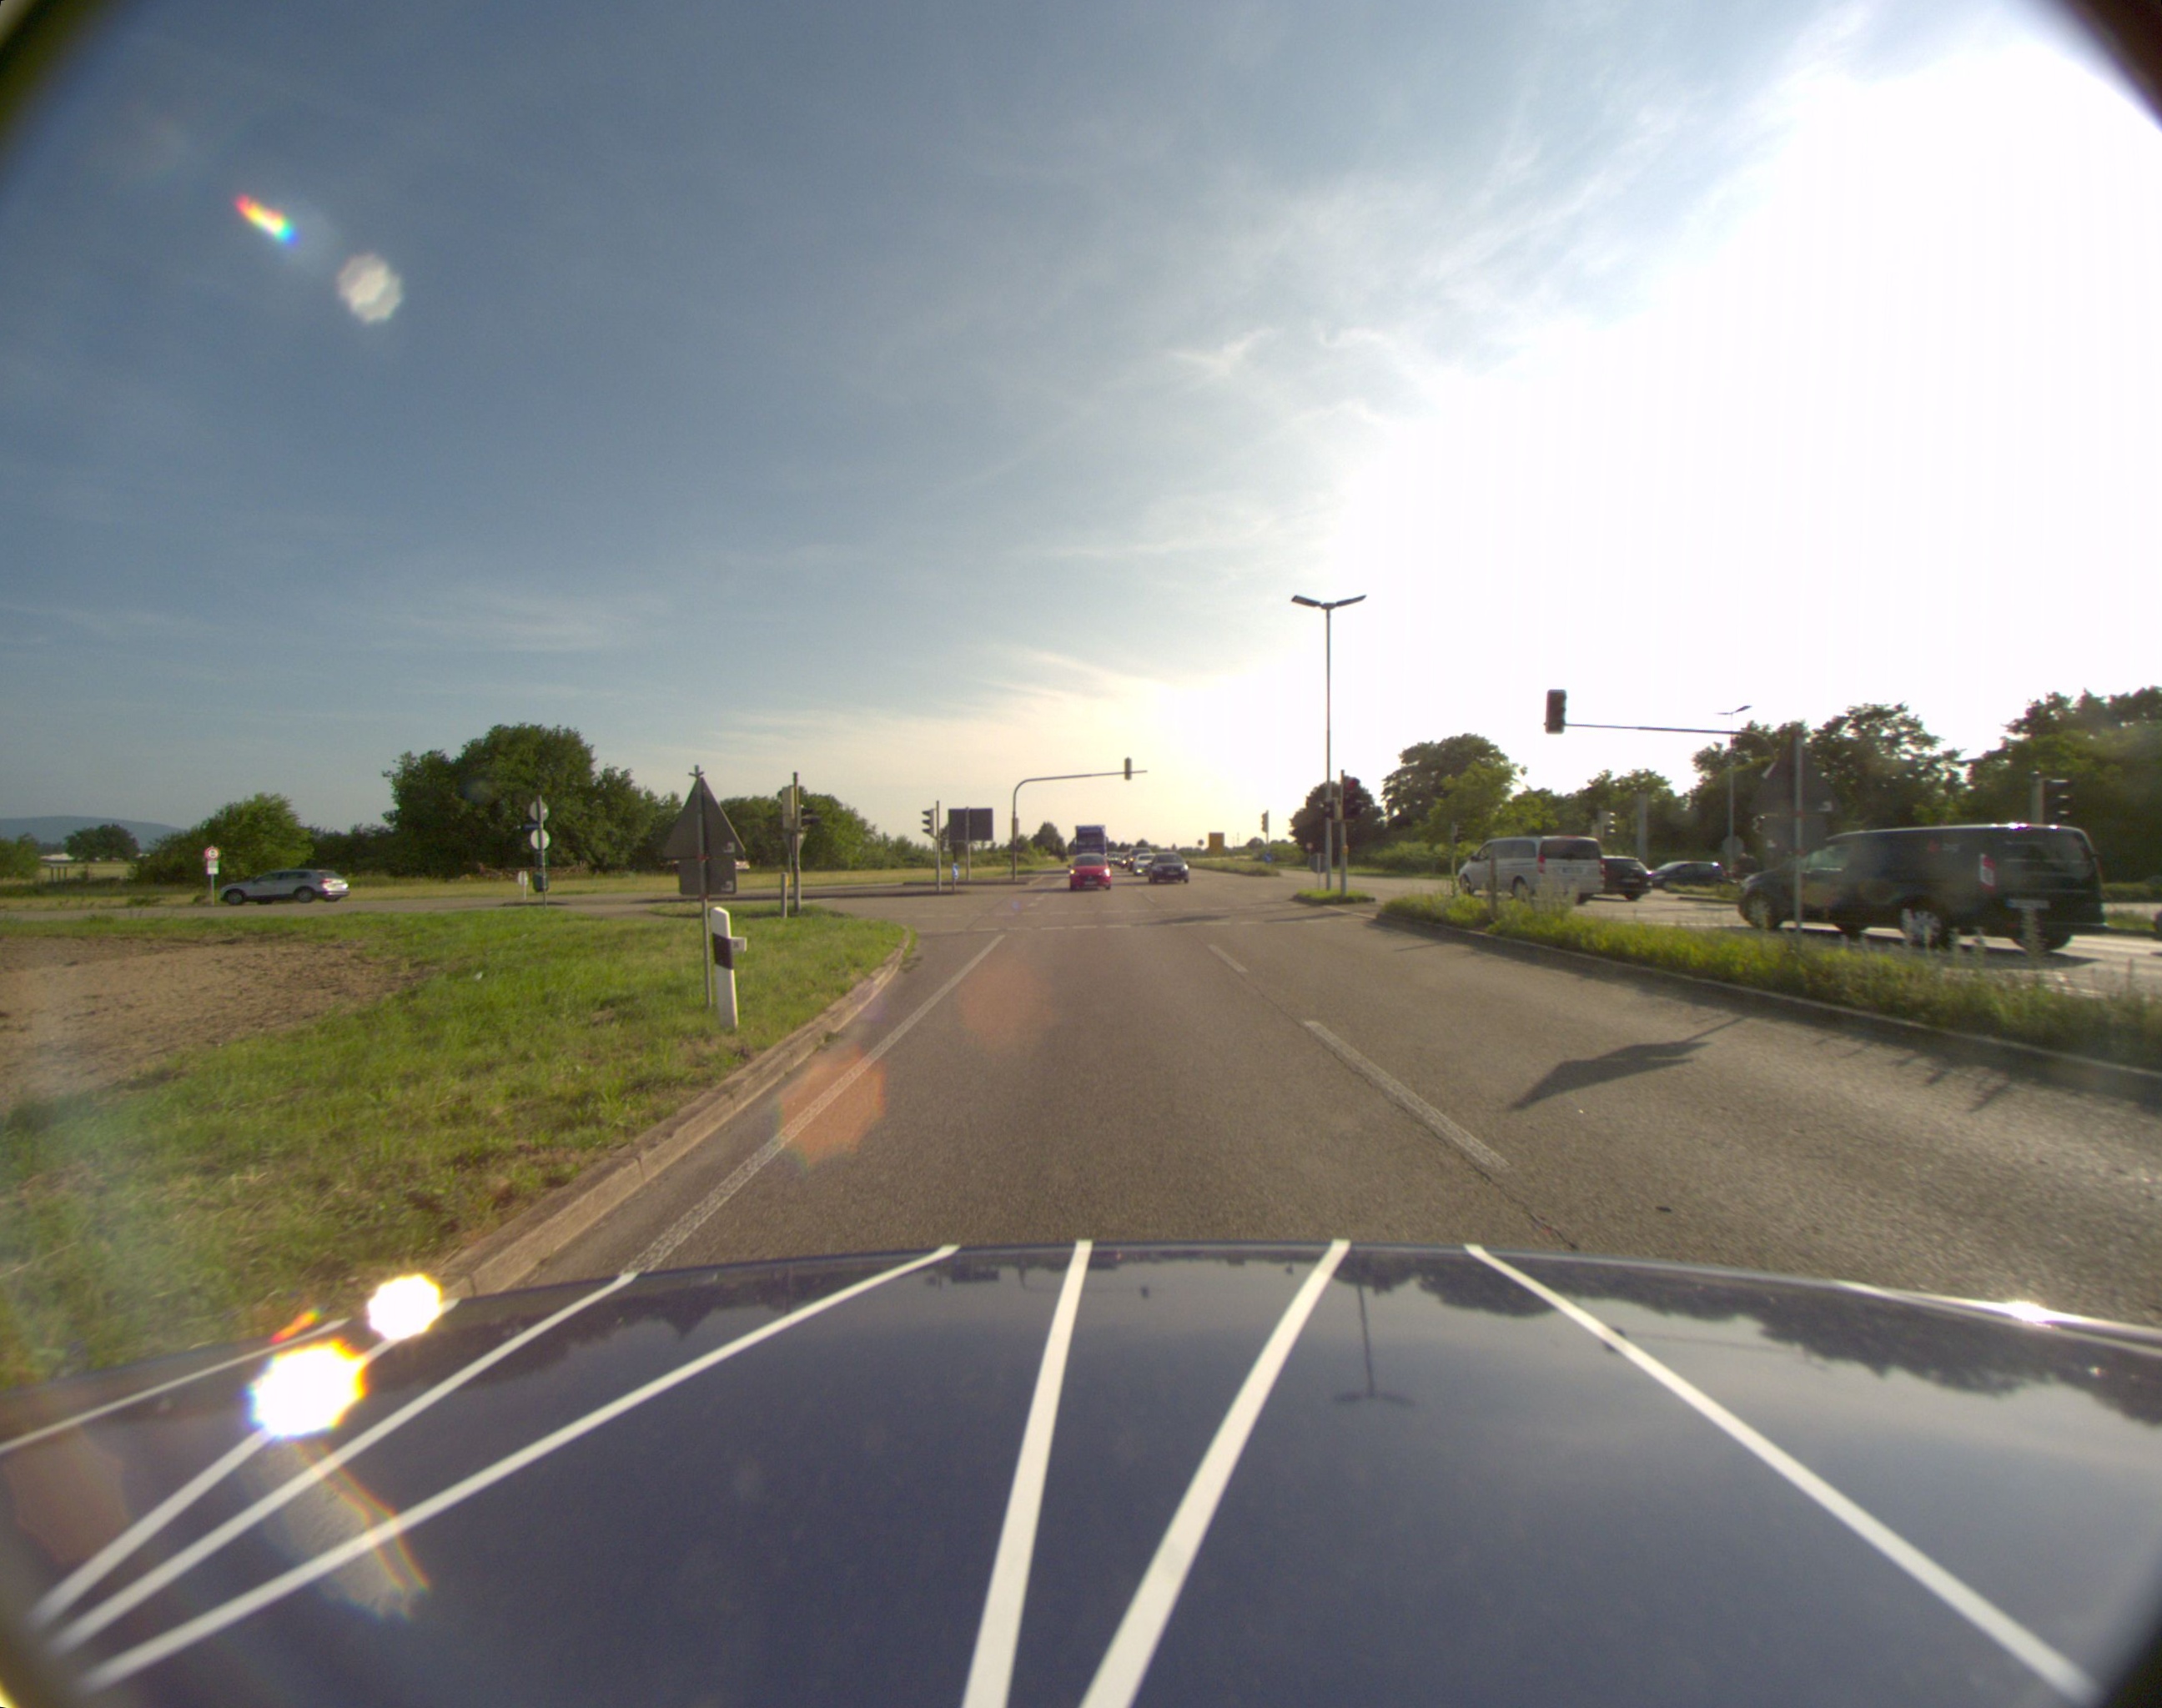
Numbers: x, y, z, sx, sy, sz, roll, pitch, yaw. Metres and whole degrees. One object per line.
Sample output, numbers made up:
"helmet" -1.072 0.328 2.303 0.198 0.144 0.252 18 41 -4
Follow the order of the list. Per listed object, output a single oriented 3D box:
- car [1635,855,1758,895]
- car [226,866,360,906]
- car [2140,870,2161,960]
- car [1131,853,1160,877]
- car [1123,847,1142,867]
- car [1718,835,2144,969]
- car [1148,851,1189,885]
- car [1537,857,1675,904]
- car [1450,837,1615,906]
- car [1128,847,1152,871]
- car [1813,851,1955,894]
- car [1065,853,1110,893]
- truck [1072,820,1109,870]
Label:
"car" 32.755 1.096 40.548 4.844 1.876 2.253 -2 1 -4
"car" -38.008 1.508 36.777 4.002 1.641 1.997 -2 1 -14
"car" 16.875 0.942 9.253 1.862 1.337 4.373 1 1 1
"car" 4.195 0.673 49.960 1.636 1.442 4.000 -2 1 1
"car" 4.995 0.238 74.158 1.636 1.833 4.000 -2 1 1
"car" 13.200 0.622 12.374 1.862 1.735 4.529 1 1 1
"car" 4.256 0.659 37.391 1.636 1.500 4.000 -2 1 1
"car" 17.228 0.809 25.211 1.862 1.337 3.960 1 1 1
"car" 13.426 0.454 23.059 1.998 1.818 5.078 2 1 1
"car" 4.758 0.343 61.348 1.636 1.833 4.000 -2 1 1
"car" 39.507 0.877 37.457 4.844 1.876 2.253 -2 1 -4
"car" 0.317 0.746 32.015 1.735 1.467 4.000 -2 1 1
"truck" 0.880 -0.773 65.539 2.849 3.897 10.104 -2 1 1
